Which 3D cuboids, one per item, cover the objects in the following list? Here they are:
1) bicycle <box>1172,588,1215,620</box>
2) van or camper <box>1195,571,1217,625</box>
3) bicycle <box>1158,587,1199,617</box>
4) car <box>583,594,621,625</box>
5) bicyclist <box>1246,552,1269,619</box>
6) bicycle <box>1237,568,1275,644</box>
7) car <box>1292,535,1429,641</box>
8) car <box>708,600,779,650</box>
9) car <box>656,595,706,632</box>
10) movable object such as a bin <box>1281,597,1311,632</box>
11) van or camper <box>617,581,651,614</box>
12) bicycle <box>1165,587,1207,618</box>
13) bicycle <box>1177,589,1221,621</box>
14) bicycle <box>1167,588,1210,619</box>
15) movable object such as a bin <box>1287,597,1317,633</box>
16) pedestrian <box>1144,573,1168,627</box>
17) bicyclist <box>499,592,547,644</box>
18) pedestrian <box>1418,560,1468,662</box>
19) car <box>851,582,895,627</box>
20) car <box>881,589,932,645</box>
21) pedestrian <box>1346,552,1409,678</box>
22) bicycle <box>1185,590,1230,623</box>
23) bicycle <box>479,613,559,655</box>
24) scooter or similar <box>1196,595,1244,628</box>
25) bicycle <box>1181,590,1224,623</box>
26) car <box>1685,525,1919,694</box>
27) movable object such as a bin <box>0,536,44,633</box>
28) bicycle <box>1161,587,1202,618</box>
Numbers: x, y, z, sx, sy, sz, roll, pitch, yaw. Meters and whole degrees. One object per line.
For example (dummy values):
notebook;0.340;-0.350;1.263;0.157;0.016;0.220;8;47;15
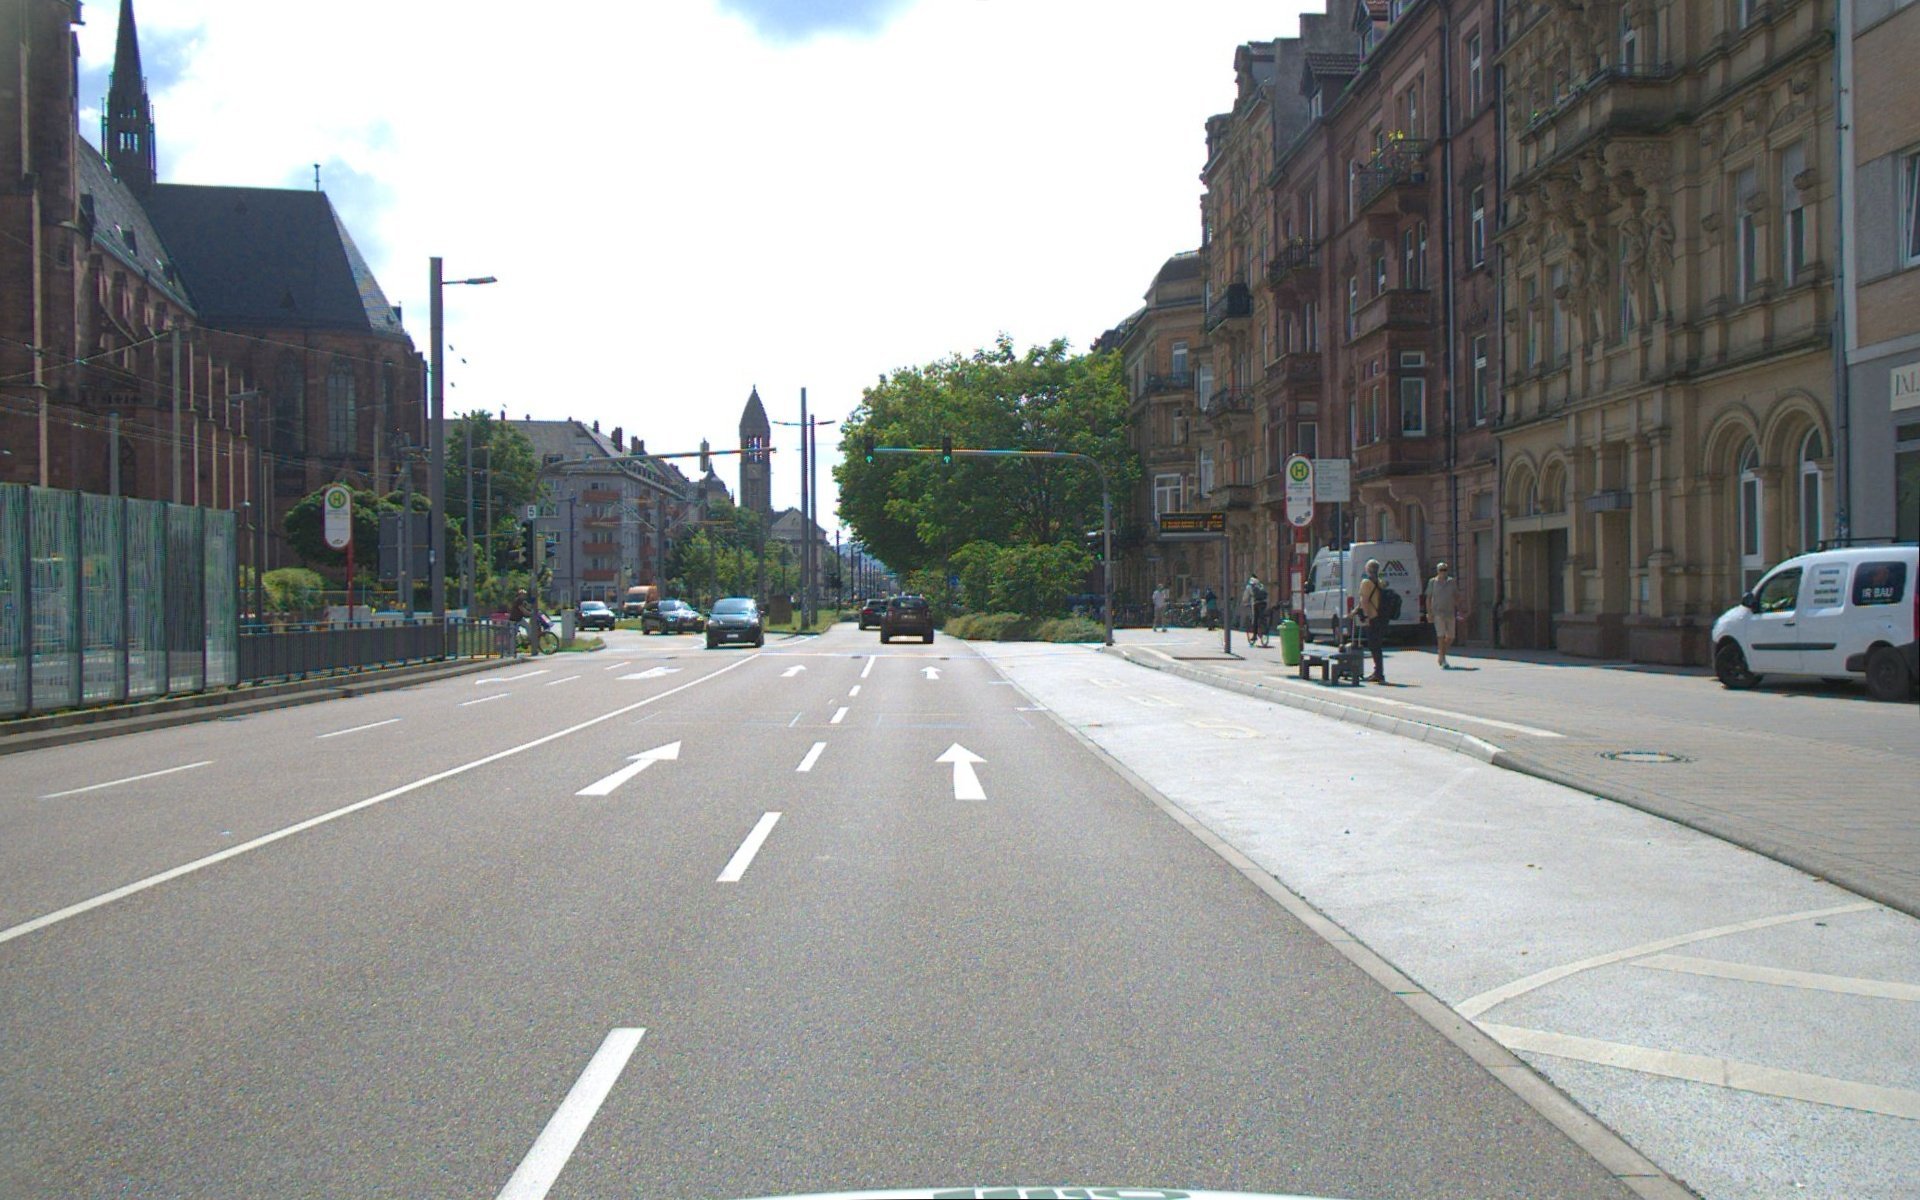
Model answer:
bicycle;9.710;0.180;68.819;1.732;1.290;0.467;-1;2;1
van or camper;9.315;-0.079;62.640;0.652;2.049;0.638;-1;0;-2
bicycle;9.509;0.089;71.977;1.732;1.290;0.467;-1;2;1
car;-18.835;0.476;86.950;1.769;1.579;4.278;0;0;-15
bicyclist;7.808;-0.384;43.439;0.419;1.748;0.828;-1;0;-1
bicycle;7.777;0.152;43.526;0.669;1.959;1.589;-1;0;-1
car;10.330;-0.313;43.139;1.953;2.569;5.886;-1;0;-2
car;-6.624;0.731;50.958;1.878;1.442;3.739;-1;0;-3
car;-12.480;0.602;74.191;1.782;1.579;4.556;-1;0;-4
movable object such as a bin;11.021;0.478;54.309;0.770;1.127;0.776;-1;0;-4
van or camper;-28.185;-0.232;143.078;2.212;2.785;6.195;-1;0;-6
bicycle;9.590;0.113;70.241;1.732;1.290;0.467;-1;2;1
bicycle;9.817;0.200;68.004;1.732;1.290;0.467;-1;2;1
bicycle;9.611;0.147;69.618;1.732;1.290;0.467;-1;2;1
movable object such as a bin;11.060;0.476;53.554;0.770;1.127;0.776;-1;0;-4
pedestrian;7.519;-0.003;63.481;0.752;2.049;0.715;-1;0;-1
bicyclist;-12.397;0.501;46.972;1.066;1.461;0.825;-1;0;8
pedestrian;9.008;0.209;30.856;0.650;1.868;0.693;-1;0;-8
car;-4.153;0.204;78.613;1.954;2.049;3.996;-1;0;-5
car;-1.899;0.577;58.075;1.655;1.741;3.607;-1;2;-3
pedestrian;6.546;0.226;25.918;0.653;1.936;0.690;-1;0;-20
bicycle;9.995;0.246;66.797;1.732;1.290;0.467;-1;2;1
bicycle;-12.498;0.953;46.925;1.975;1.146;0.932;-1;0;8
scooter or similar;10.064;0.439;64.127;1.733;1.205;0.466;-3;-1;-2
bicycle;9.868;0.256;67.376;1.709;1.290;0.467;-1;2;1
car;11.407;0.110;20.873;1.956;1.894;4.745;-1;0;-7
movable object such as a bin;-32.467;-0.500;54.685;1.952;3.159;4.002;0;2;2
bicycle;9.539;0.104;71.319;1.732;1.290;0.467;-1;2;1
